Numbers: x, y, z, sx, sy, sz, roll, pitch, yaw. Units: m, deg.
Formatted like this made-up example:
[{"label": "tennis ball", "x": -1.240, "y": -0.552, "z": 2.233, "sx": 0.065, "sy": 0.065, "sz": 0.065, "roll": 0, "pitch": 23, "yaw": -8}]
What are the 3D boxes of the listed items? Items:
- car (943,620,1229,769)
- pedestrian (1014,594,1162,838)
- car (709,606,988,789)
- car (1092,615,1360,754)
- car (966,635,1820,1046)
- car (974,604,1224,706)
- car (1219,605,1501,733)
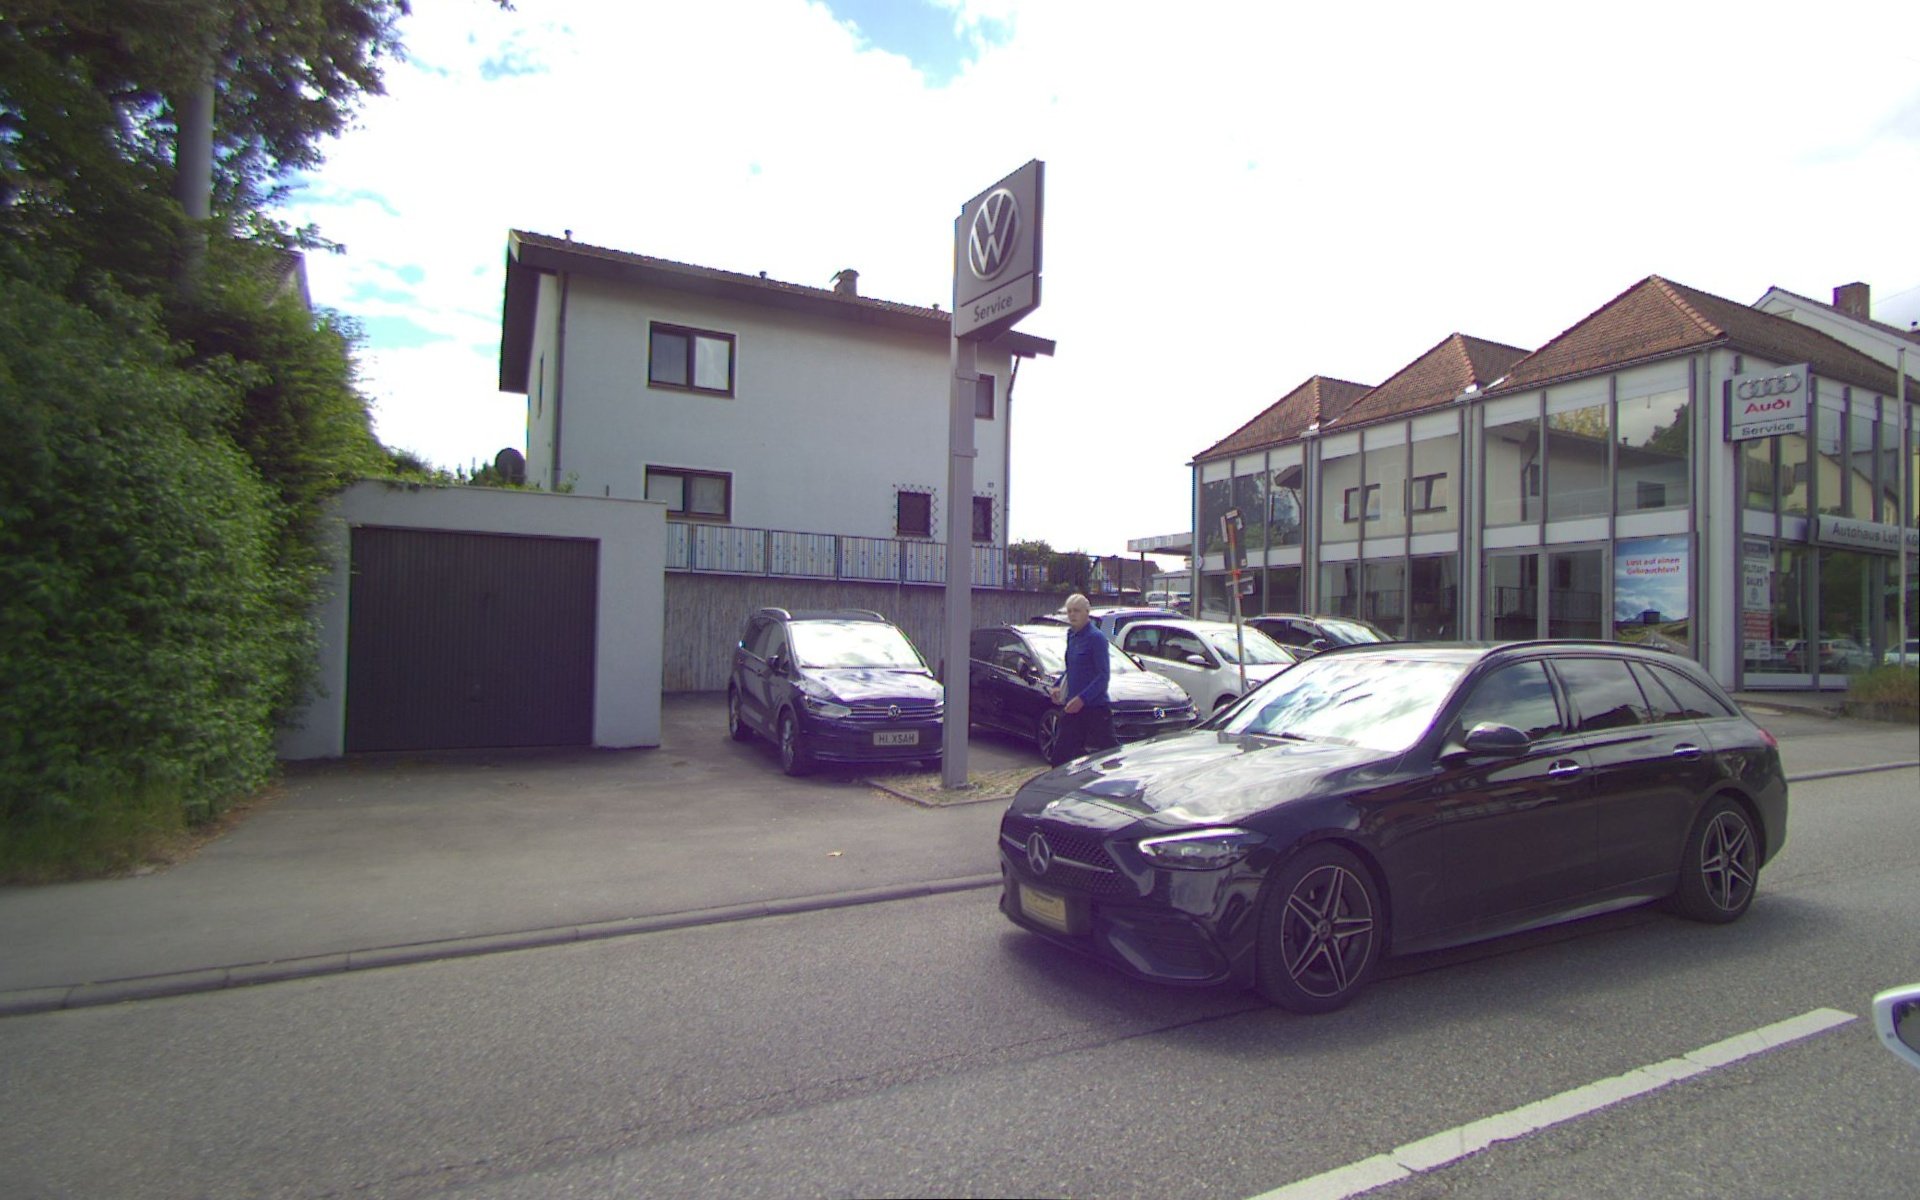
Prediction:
[{"label": "car", "x": 1.385, "y": 1.040, "z": 12.448, "sx": 1.708, "sy": 1.538, "sz": 3.724, "roll": 1, "pitch": -2, "yaw": -28}, {"label": "pedestrian", "x": 0.978, "y": 0.851, "z": 7.736, "sx": 0.857, "sy": 1.760, "sz": 0.680, "roll": 2, "pitch": -1, "yaw": -28}, {"label": "car", "x": -1.499, "y": 0.925, "z": 11.602, "sx": 1.878, "sy": 1.663, "sz": 4.275, "roll": 1, "pitch": 0, "yaw": -26}, {"label": "car", "x": 3.585, "y": 1.064, "z": 14.199, "sx": 1.516, "sy": 1.581, "sz": 3.724, "roll": 1, "pitch": 1, "yaw": -28}, {"label": "car", "x": 2.399, "y": 0.937, "z": 5.359, "sx": 4.465, "sy": 1.448, "sz": 1.734, "roll": 2, "pitch": -3, "yaw": -27}, {"label": "car", "x": 2.562, "y": 0.914, "z": 18.313, "sx": 4.272, "sy": 1.606, "sz": 1.799, "roll": 0, "pitch": 2, "yaw": -28}, {"label": "car", "x": 6.095, "y": 0.960, "z": 15.799, "sx": 1.634, "sy": 1.652, "sz": 3.996, "roll": 1, "pitch": 1, "yaw": -28}]
